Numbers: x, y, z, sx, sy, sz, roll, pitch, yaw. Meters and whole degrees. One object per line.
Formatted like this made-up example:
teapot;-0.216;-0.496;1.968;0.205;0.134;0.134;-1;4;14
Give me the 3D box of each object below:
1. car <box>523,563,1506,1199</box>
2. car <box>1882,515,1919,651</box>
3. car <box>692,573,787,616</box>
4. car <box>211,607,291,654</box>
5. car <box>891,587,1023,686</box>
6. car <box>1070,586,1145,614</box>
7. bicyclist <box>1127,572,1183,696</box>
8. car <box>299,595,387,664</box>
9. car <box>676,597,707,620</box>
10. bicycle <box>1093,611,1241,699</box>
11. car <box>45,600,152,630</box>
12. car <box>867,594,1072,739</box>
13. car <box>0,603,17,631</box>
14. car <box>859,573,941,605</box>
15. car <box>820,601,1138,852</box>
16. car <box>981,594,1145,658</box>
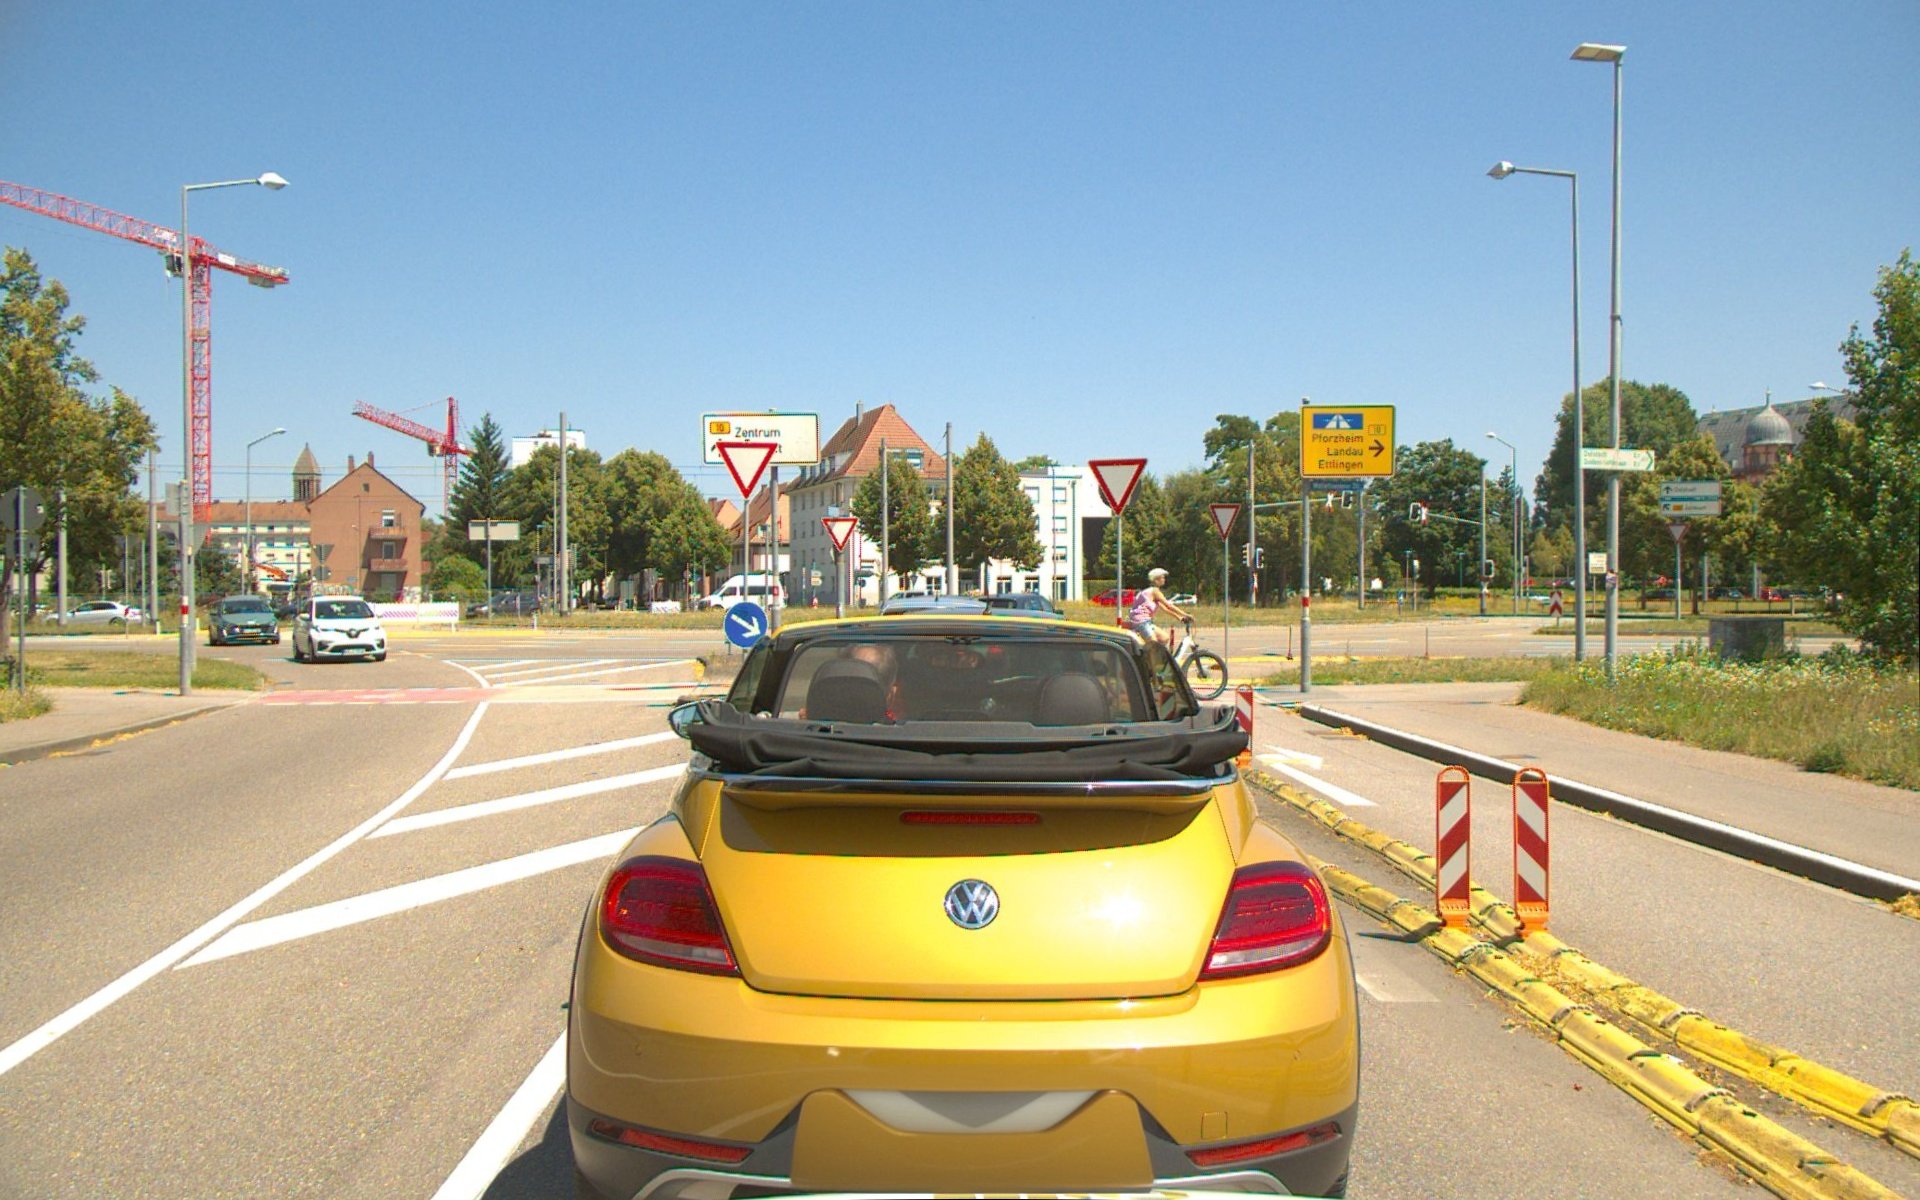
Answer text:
car;0.070;0.711;5.061;1.729;1.507;4.257;1;0;-1
car;23.428;-0.313;34.834;6.720;2.877;2.000;1;0;20
car;-13.098;-0.336;98.329;5.236;2.439;1.981;1;0;-22
car;-22.379;0.932;52.305;1.718;1.395;4.313;1;0;-16
car;-0.079;0.552;27.931;2.023;1.506;4.542;-1;0;-1
car;9.219;0.015;103.214;4.246;1.683;1.900;1;0;25
bicyclist;2.864;0.497;24.270;0.656;1.783;0.592;-1;1;20
car;-15.003;0.668;40.119;1.752;1.554;3.843;-1;0;-24
car;-22.506;0.708;138.452;1.856;1.803;3.977;1;0;-19
bicycle;3.032;0.793;24.223;2.049;1.242;0.634;-1;0;22
car;-42.037;0.716;80.796;4.237;1.395;1.749;1;0;-9
car;0.099;0.674;18.575;2.022;1.406;4.257;1;0;0
car;-49.954;0.800;82.913;4.236;1.395;1.749;1;0;-8
car;-4.085;-0.746;112.678;5.202;2.107;1.994;1;0;22
car;0.080;0.726;11.622;1.814;1.389;4.257;-1;0;-1
car;2.165;0.552;34.709;3.167;1.281;1.427;1;0;-26
